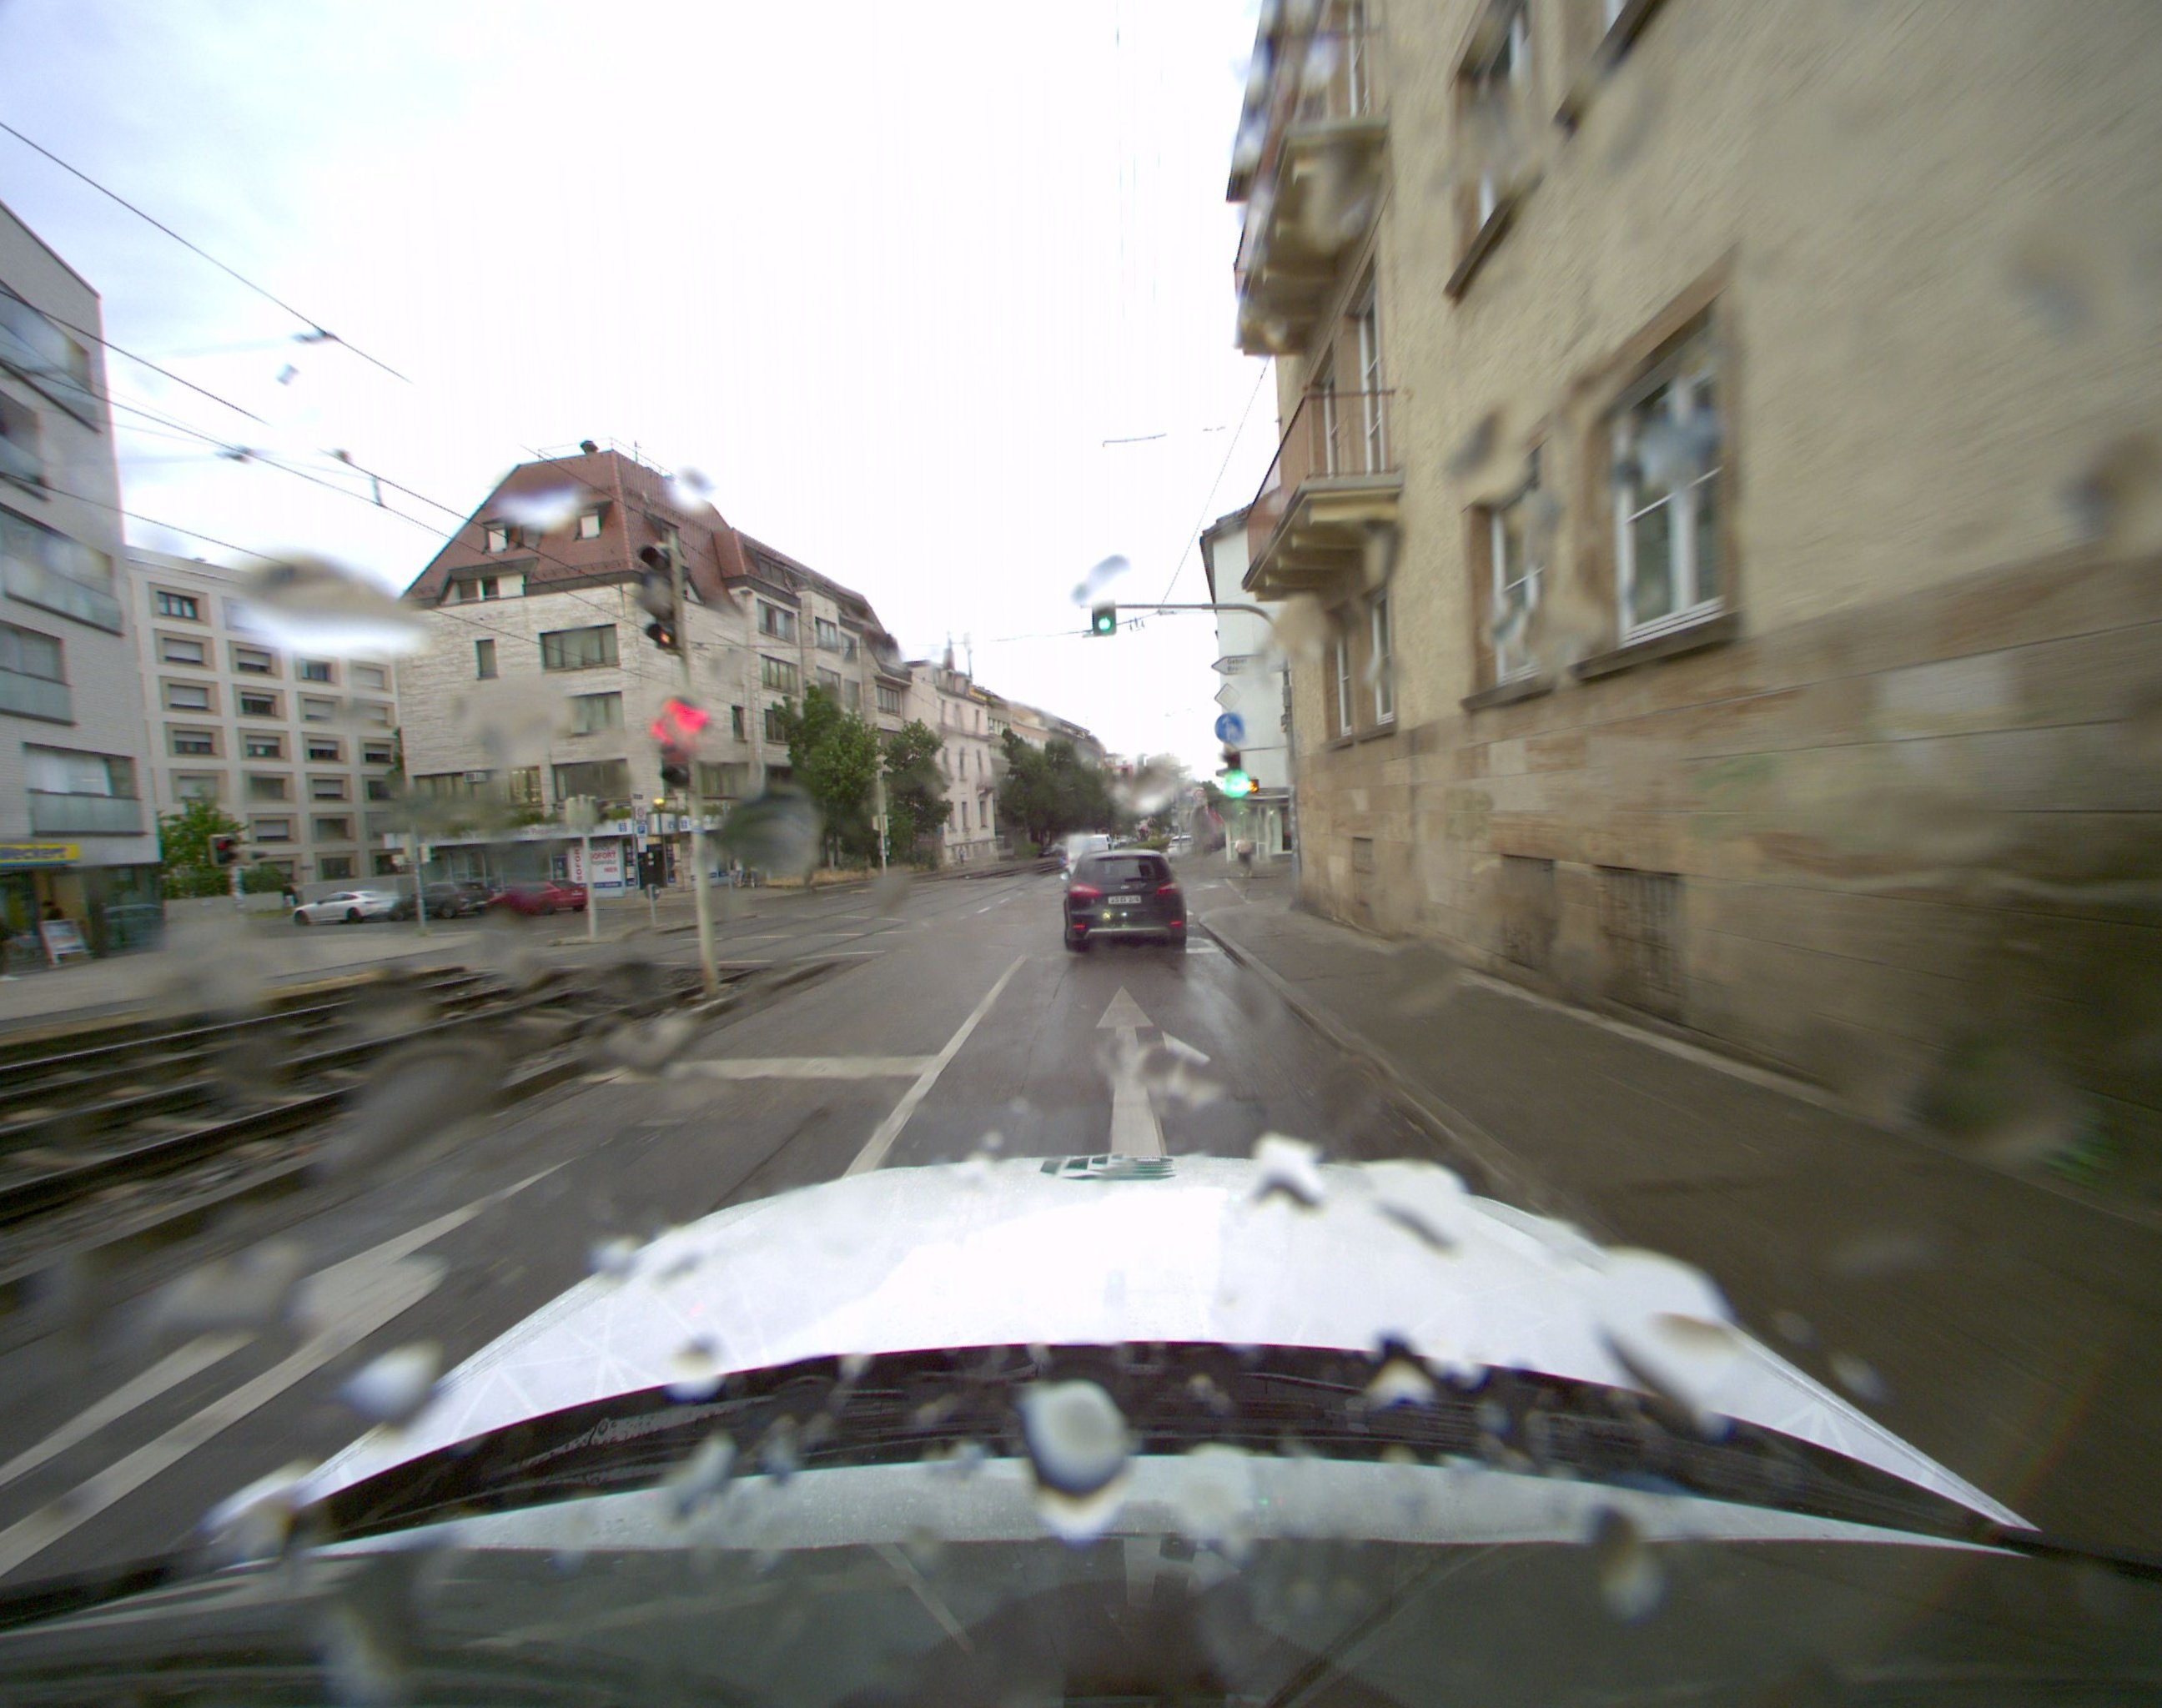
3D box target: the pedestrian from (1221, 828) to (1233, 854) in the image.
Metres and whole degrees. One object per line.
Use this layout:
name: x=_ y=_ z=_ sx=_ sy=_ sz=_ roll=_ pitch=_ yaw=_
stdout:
pedestrian: x=10.802 y=-0.958 z=60.323 sx=0.698 sy=1.819 sz=0.965 roll=-6 pitch=2 yaw=12

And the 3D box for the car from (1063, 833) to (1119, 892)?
car: x=0.422 y=0.319 z=31.566 sx=1.981 sy=2.060 sz=4.646 roll=-1 pitch=0 yaw=1

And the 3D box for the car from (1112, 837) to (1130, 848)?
car: x=6.416 y=-1.844 z=129.822 sx=1.842 sy=1.637 sz=4.953 roll=-2 pitch=0 yaw=13

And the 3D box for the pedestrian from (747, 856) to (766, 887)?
pedestrian: x=-16.629 y=0.881 z=41.746 sx=0.643 sy=1.549 sz=0.686 roll=-1 pitch=0 yaw=11

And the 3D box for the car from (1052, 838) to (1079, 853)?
car: x=-1.693 y=-0.967 z=90.700 sx=1.842 sy=1.548 sz=4.737 roll=-2 pitch=0 yaw=13

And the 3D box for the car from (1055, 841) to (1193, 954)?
car: x=0.663 y=0.597 z=13.074 sx=1.835 sy=1.507 sz=4.002 roll=-1 pitch=0 yaw=2

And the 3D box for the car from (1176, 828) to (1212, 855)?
car: x=7.398 y=-0.795 z=53.118 sx=1.832 sy=1.632 sz=4.603 roll=-3 pitch=0 yaw=13

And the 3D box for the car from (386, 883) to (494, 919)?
car: x=-27.534 y=2.030 z=35.018 sx=3.669 sy=1.317 sz=1.599 roll=-3 pitch=-1 yaw=11

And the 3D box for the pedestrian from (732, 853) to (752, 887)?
pedestrian: x=-17.389 y=0.828 z=41.801 sx=0.643 sy=1.724 sz=0.686 roll=-1 pitch=0 yaw=11

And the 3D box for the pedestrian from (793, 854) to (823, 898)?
pedestrian: x=-11.698 y=0.921 z=34.914 sx=0.926 sy=1.830 sz=0.961 roll=-1 pitch=0 yaw=4

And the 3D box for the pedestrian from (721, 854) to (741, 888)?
pedestrian: x=-18.012 y=0.879 z=41.909 sx=0.643 sy=1.749 sz=0.686 roll=-1 pitch=0 yaw=11

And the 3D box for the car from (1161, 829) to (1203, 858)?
car: x=5.843 y=-0.589 z=46.602 sx=1.789 sy=1.455 sz=4.603 roll=-4 pitch=0 yaw=13

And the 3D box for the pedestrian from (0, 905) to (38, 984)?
pedestrian: x=-22.629 y=1.897 z=17.044 sx=0.650 sy=1.569 sz=0.771 roll=-3 pitch=0 yaw=-25

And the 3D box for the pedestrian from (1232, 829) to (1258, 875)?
pedestrian: x=5.870 y=-0.077 z=29.204 sx=0.685 sy=1.572 sz=0.763 roll=-4 pitch=0 yaw=1

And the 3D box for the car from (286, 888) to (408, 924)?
car: x=-32.353 y=2.290 z=35.902 sx=4.458 sy=1.317 sz=1.599 roll=-3 pitch=-1 yaw=11

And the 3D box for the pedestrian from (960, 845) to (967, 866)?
pedestrian: x=-9.365 y=0.150 z=65.116 sx=0.466 sy=1.652 sz=0.582 roll=-1 pitch=0 yaw=0

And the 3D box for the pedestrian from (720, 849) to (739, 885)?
pedestrian: x=-18.617 y=0.679 z=43.119 sx=0.643 sy=1.842 sz=0.686 roll=-1 pitch=0 yaw=11

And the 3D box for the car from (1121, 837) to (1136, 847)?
car: x=7.969 y=-2.035 z=136.286 sx=1.683 sy=1.573 sz=4.060 roll=-2 pitch=0 yaw=13

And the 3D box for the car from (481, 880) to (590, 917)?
car: x=-22.811 y=1.837 z=34.079 sx=3.669 sy=1.317 sz=1.599 roll=-3 pitch=-1 yaw=11

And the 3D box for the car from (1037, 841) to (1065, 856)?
car: x=-3.070 y=-0.566 z=84.569 sx=1.682 sy=1.377 sz=4.737 roll=-2 pitch=-1 yaw=13

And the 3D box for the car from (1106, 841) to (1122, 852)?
car: x=4.915 y=-1.118 z=120.417 sx=1.656 sy=1.558 sz=4.060 roll=-2 pitch=0 yaw=13

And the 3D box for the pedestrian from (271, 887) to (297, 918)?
pedestrian: x=-40.179 y=2.442 z=41.037 sx=0.677 sy=1.549 sz=0.651 roll=-1 pitch=0 yaw=10
